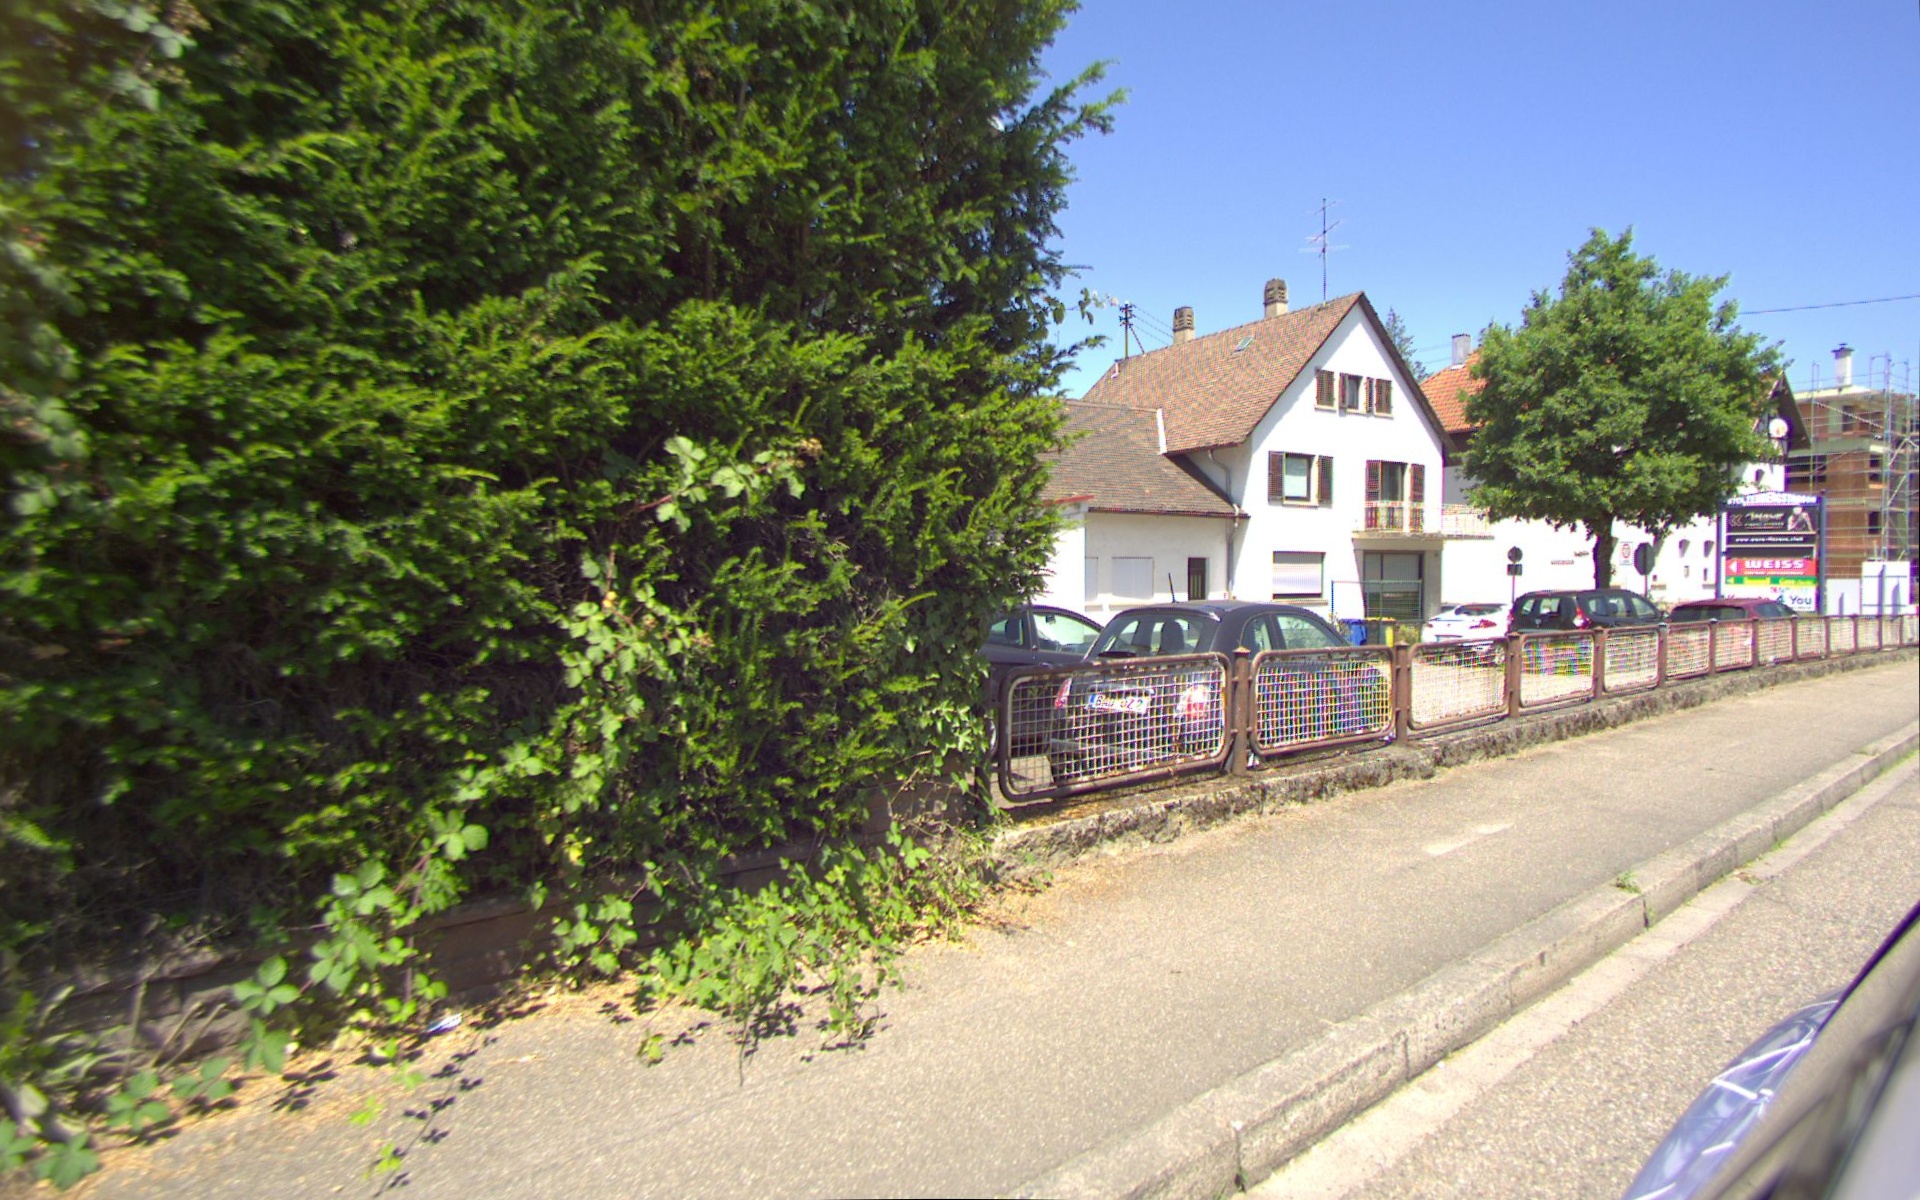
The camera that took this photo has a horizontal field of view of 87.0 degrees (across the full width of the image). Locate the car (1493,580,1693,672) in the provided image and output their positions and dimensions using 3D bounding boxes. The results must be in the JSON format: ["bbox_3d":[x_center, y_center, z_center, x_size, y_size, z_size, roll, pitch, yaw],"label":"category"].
[{"bbox_3d":[13.045,0.471,20.785,4.372,1.686,1.718,-1,0,-32],"label":"car"}]

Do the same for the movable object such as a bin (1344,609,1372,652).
[{"bbox_3d":[9.485,0.719,24.115,0.408,0.981,0.453,-1,1,-31],"label":"movable object such as a bin"}]

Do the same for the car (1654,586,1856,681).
[{"bbox_3d":[14.660,0.544,18.641,3.764,1.542,1.719,-1,2,-31],"label":"car"}]

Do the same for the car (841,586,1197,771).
[{"bbox_3d":[0.642,0.663,10.401,3.327,1.562,1.637,-1,1,-33],"label":"car"}]

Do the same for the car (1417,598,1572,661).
[{"bbox_3d":[12.212,0.632,23.106,3.319,1.286,1.718,-1,1,-33],"label":"car"}]

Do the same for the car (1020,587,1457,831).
[{"bbox_3d":[2.311,0.689,8.004,3.495,1.478,1.633,-1,-2,-41],"label":"car"}]

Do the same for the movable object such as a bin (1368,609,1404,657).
[{"bbox_3d":[9.877,0.758,23.492,0.627,1.060,0.492,-1,1,-31],"label":"movable object such as a bin"}]

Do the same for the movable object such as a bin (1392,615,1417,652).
[{"bbox_3d":[10.545,0.792,24.010,0.378,0.865,0.398,-1,1,-31],"label":"movable object such as a bin"}]

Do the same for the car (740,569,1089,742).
[{"bbox_3d":[-0.465,0.585,12.666,4.092,1.823,1.777,-1,-2,-40],"label":"car"}]

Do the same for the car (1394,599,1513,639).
[{"bbox_3d":[19.407,0.744,39.950,1.780,1.462,3.899,-1,-1,-31],"label":"car"}]
